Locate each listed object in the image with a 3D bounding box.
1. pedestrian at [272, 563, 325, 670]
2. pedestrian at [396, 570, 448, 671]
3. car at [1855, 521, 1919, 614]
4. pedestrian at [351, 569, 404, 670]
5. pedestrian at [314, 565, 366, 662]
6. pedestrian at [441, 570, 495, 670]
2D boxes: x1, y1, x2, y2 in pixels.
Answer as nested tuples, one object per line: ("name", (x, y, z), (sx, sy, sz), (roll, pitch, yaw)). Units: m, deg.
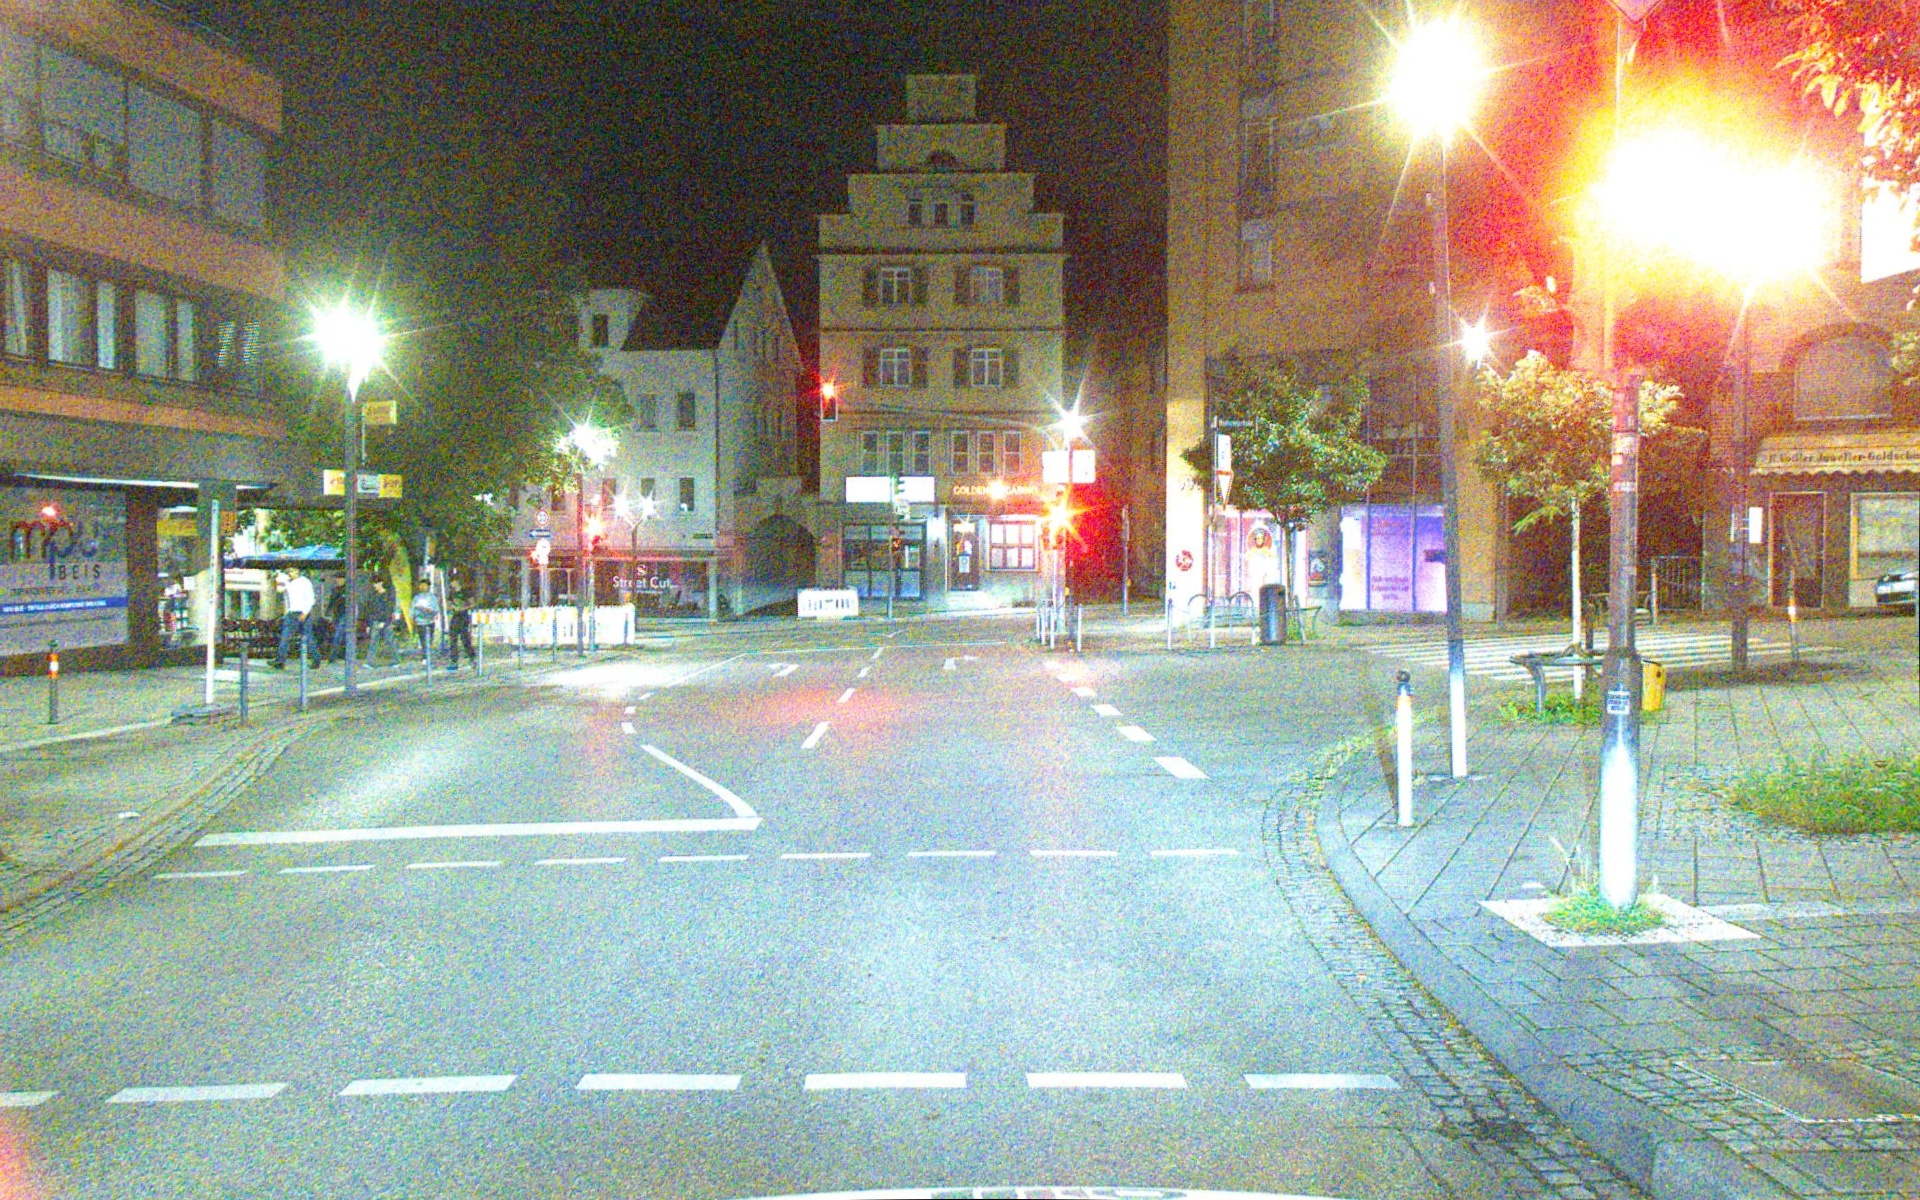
("pedestrian", (-11.491, 0.296, 28.741), (0.703, 1.827, 0.568), (1, -2, -9))
("pedestrian", (-9.887, 0.376, 30.384), (0.701, 1.827, 0.570), (1, -2, 6))
("car", (17.176, -0.628, 27.132), (3.956, 1.478, 1.827), (-3, 1, 6))
("pedestrian", (-10.637, 0.354, 30.233), (0.701, 1.827, 0.570), (1, -2, 6))
("pedestrian", (-11.762, 0.263, 31.394), (0.701, 1.827, 0.570), (1, -2, 6))
("pedestrian", (-9.174, 0.378, 30.849), (0.701, 1.827, 0.737), (1, -1, 6))
